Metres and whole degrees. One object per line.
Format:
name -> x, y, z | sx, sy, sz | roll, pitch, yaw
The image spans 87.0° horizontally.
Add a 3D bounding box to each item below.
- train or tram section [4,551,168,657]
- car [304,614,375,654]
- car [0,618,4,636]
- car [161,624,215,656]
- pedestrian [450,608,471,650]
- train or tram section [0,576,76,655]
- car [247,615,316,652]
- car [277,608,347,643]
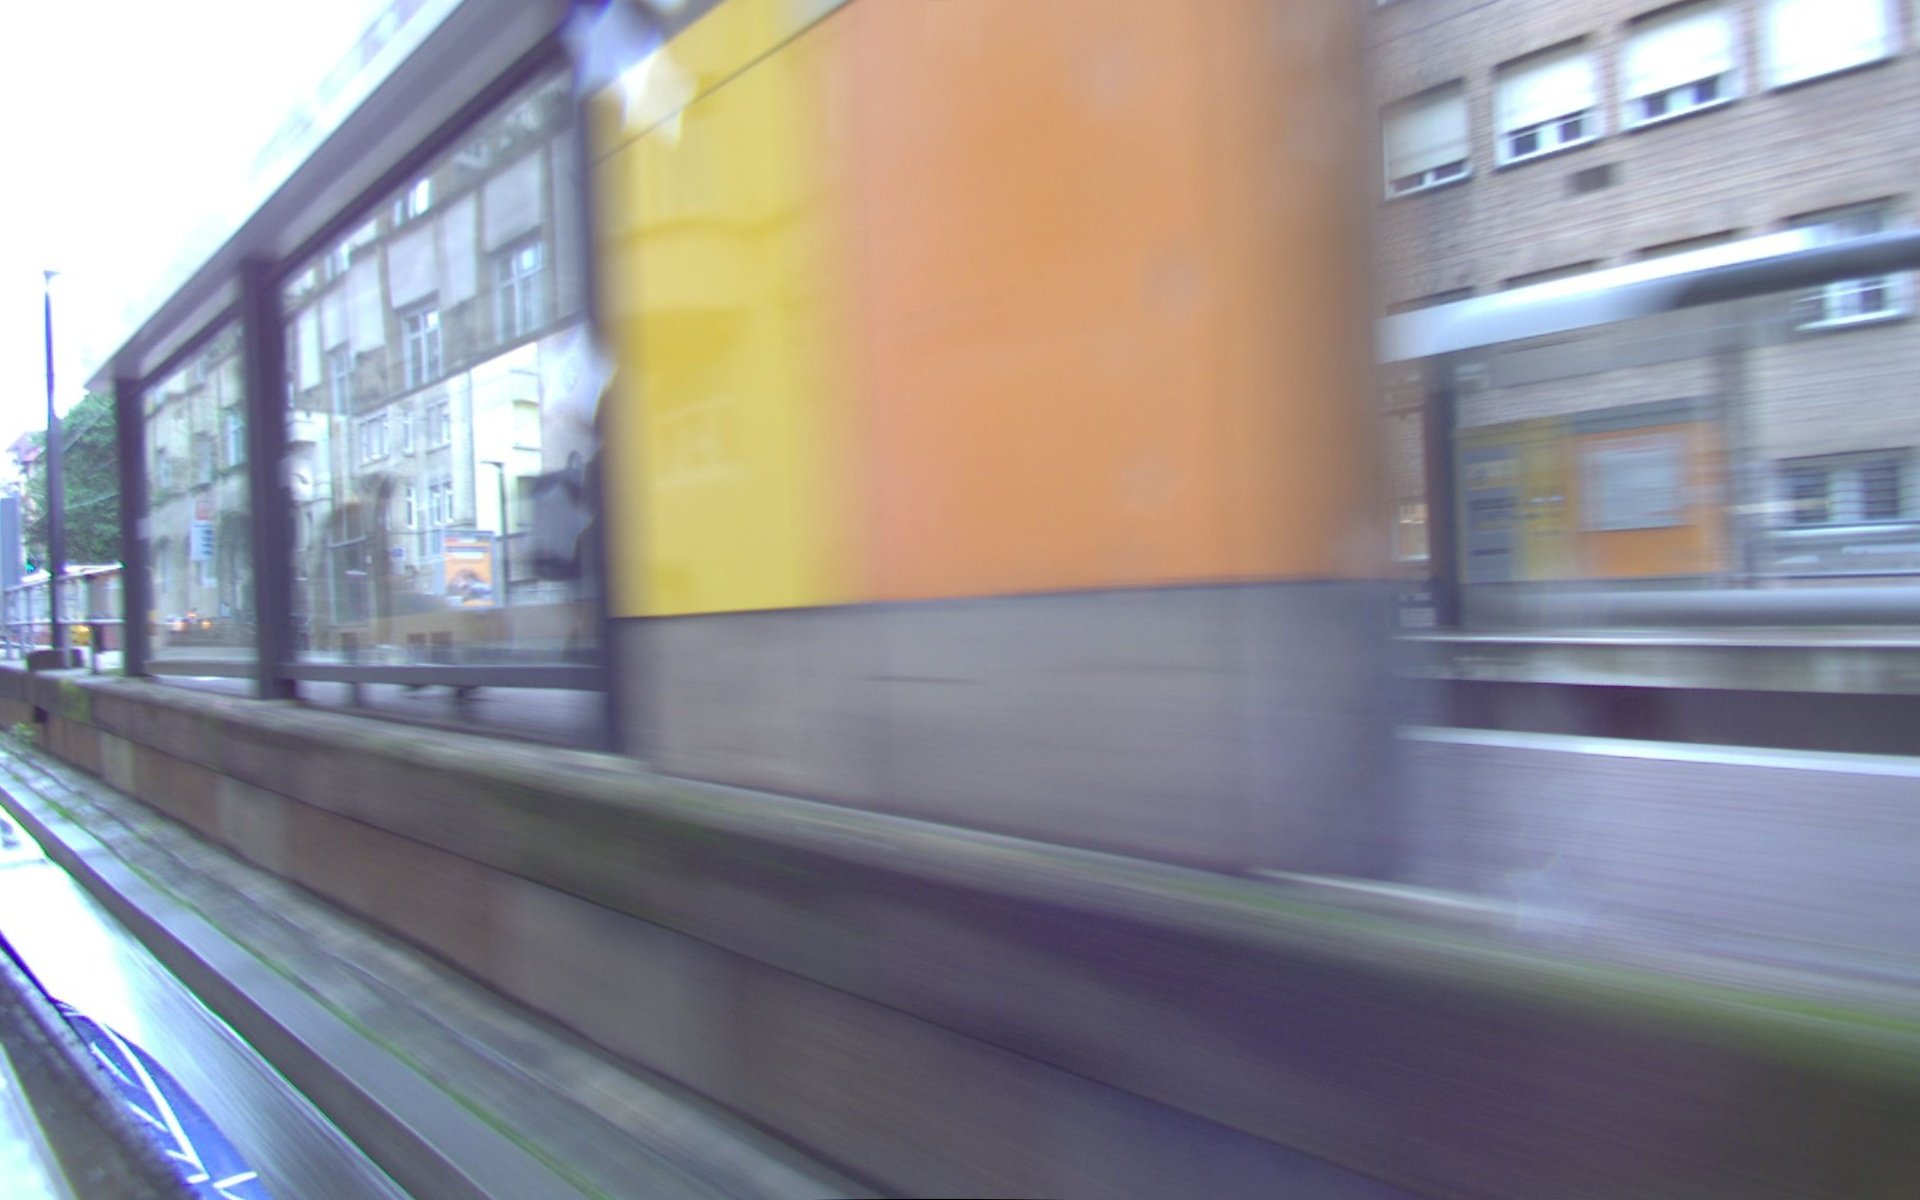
train or tram section -> -39.551, 0.301, 45.269 | 19.850, 3.950, 2.687 | -1, 0, 41
car -> -24.764, 1.341, 40.339 | 3.111, 1.477, 1.627 | -2, -1, 43
car -> -111.783, 3.210, 116.521 | 3.998, 1.984, 1.973 | -2, 2, 41
car -> -43.984, 2.242, 57.609 | 4.096, 1.719, 1.627 | -2, -1, 41
pedestrian -> -19.927, 1.151, 40.377 | 0.542, 1.666, 0.543 | -2, -1, 42
train or tram section -> -53.858, 0.912, 57.592 | 19.286, 3.950, 2.687 | -1, 0, 41
car -> -31.013, 1.515, 46.224 | 4.338, 1.593, 1.627 | -2, -1, 43
car -> -27.427, 1.081, 42.819 | 3.632, 1.414, 1.627 | -2, -1, 43
